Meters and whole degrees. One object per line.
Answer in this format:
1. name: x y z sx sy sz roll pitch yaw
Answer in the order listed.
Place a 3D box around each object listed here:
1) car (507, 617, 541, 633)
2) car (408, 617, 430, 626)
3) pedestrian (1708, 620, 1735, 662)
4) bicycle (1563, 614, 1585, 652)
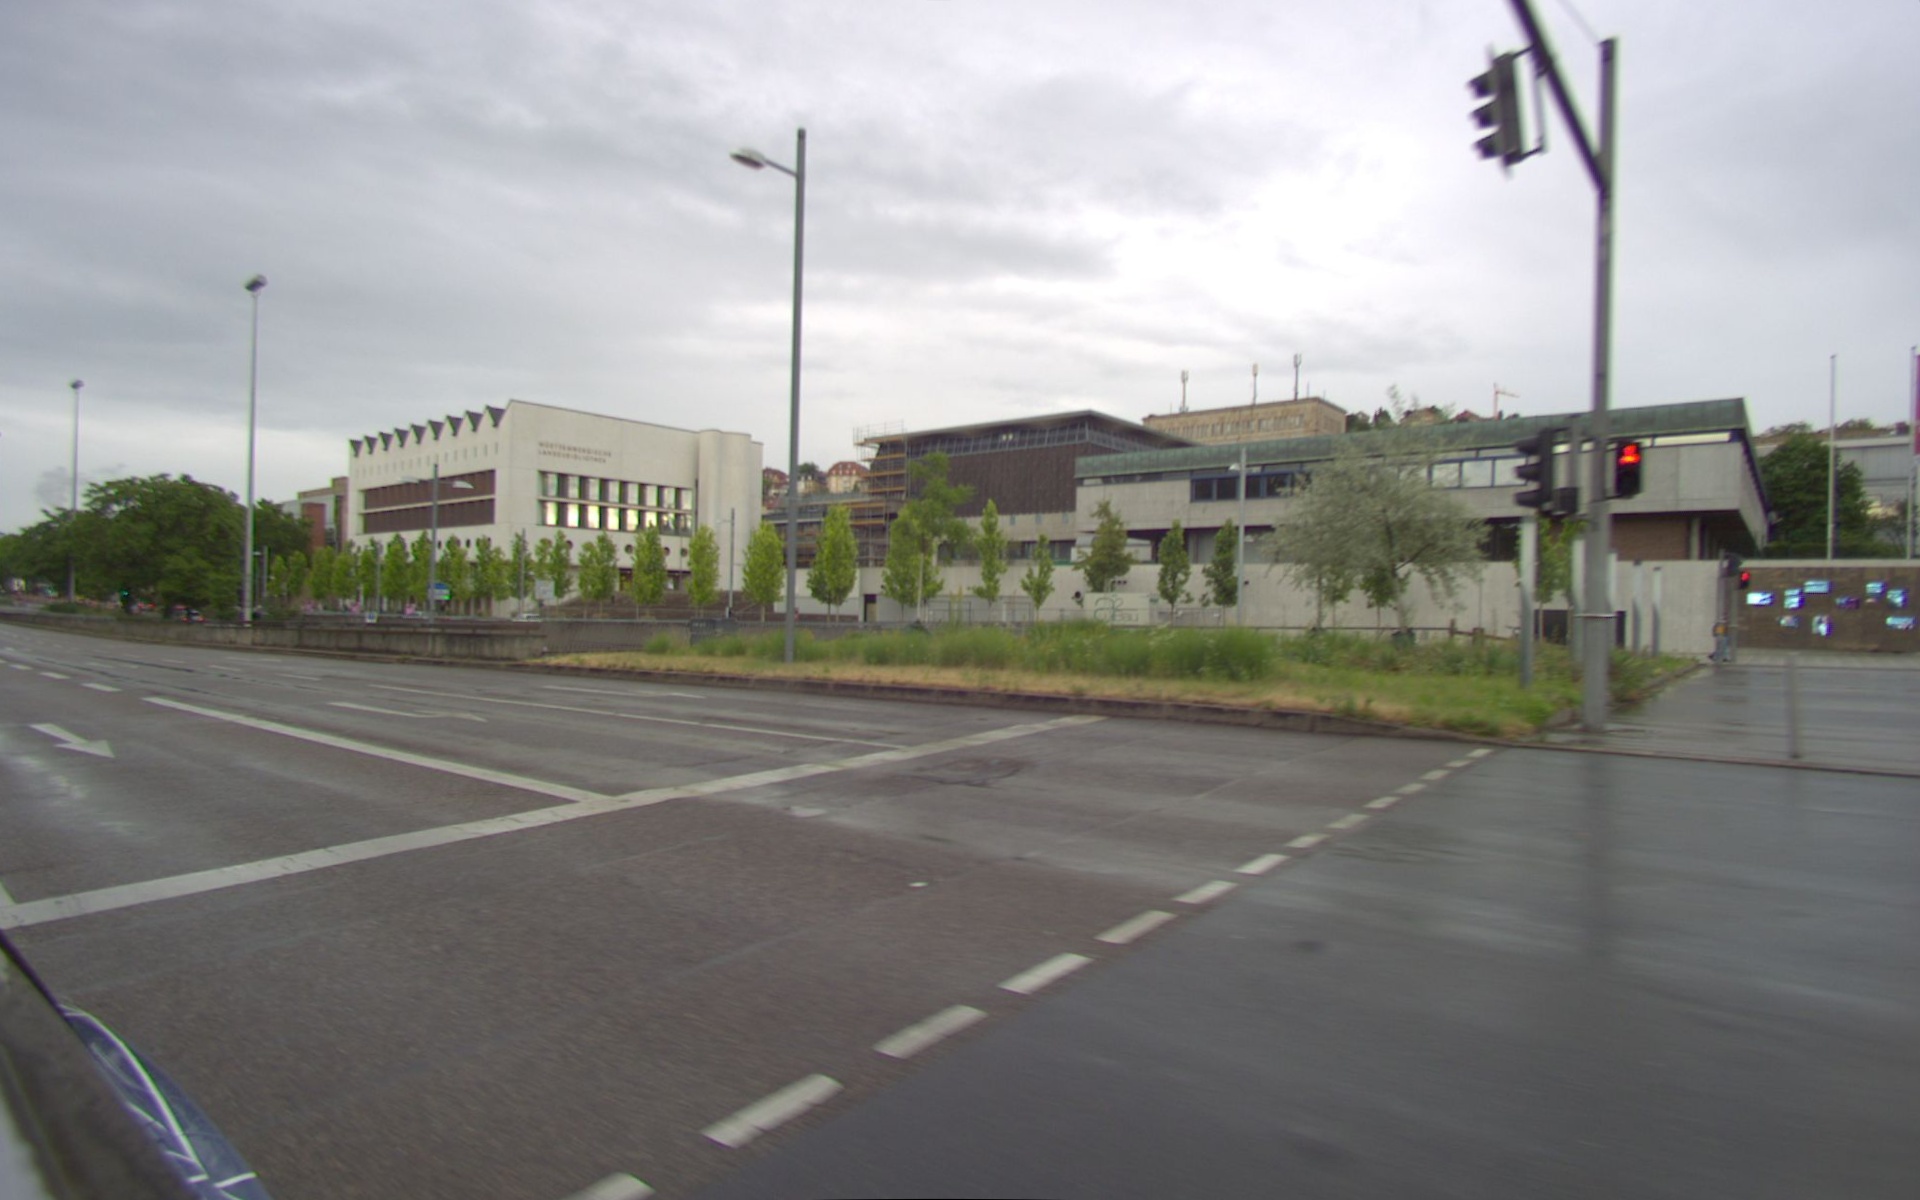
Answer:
1. car: -35.938 2.038 83.342 3.019 1.122 1.425 2 2 40
2. car: -49.913 1.981 93.389 2.550 0.751 0.811 2 1 38
3. pedestrian: 26.191 1.402 34.808 0.460 1.393 0.578 0 1 -31
4. bicycle: 22.717 1.194 37.437 0.555 1.317 1.468 1 1 27
